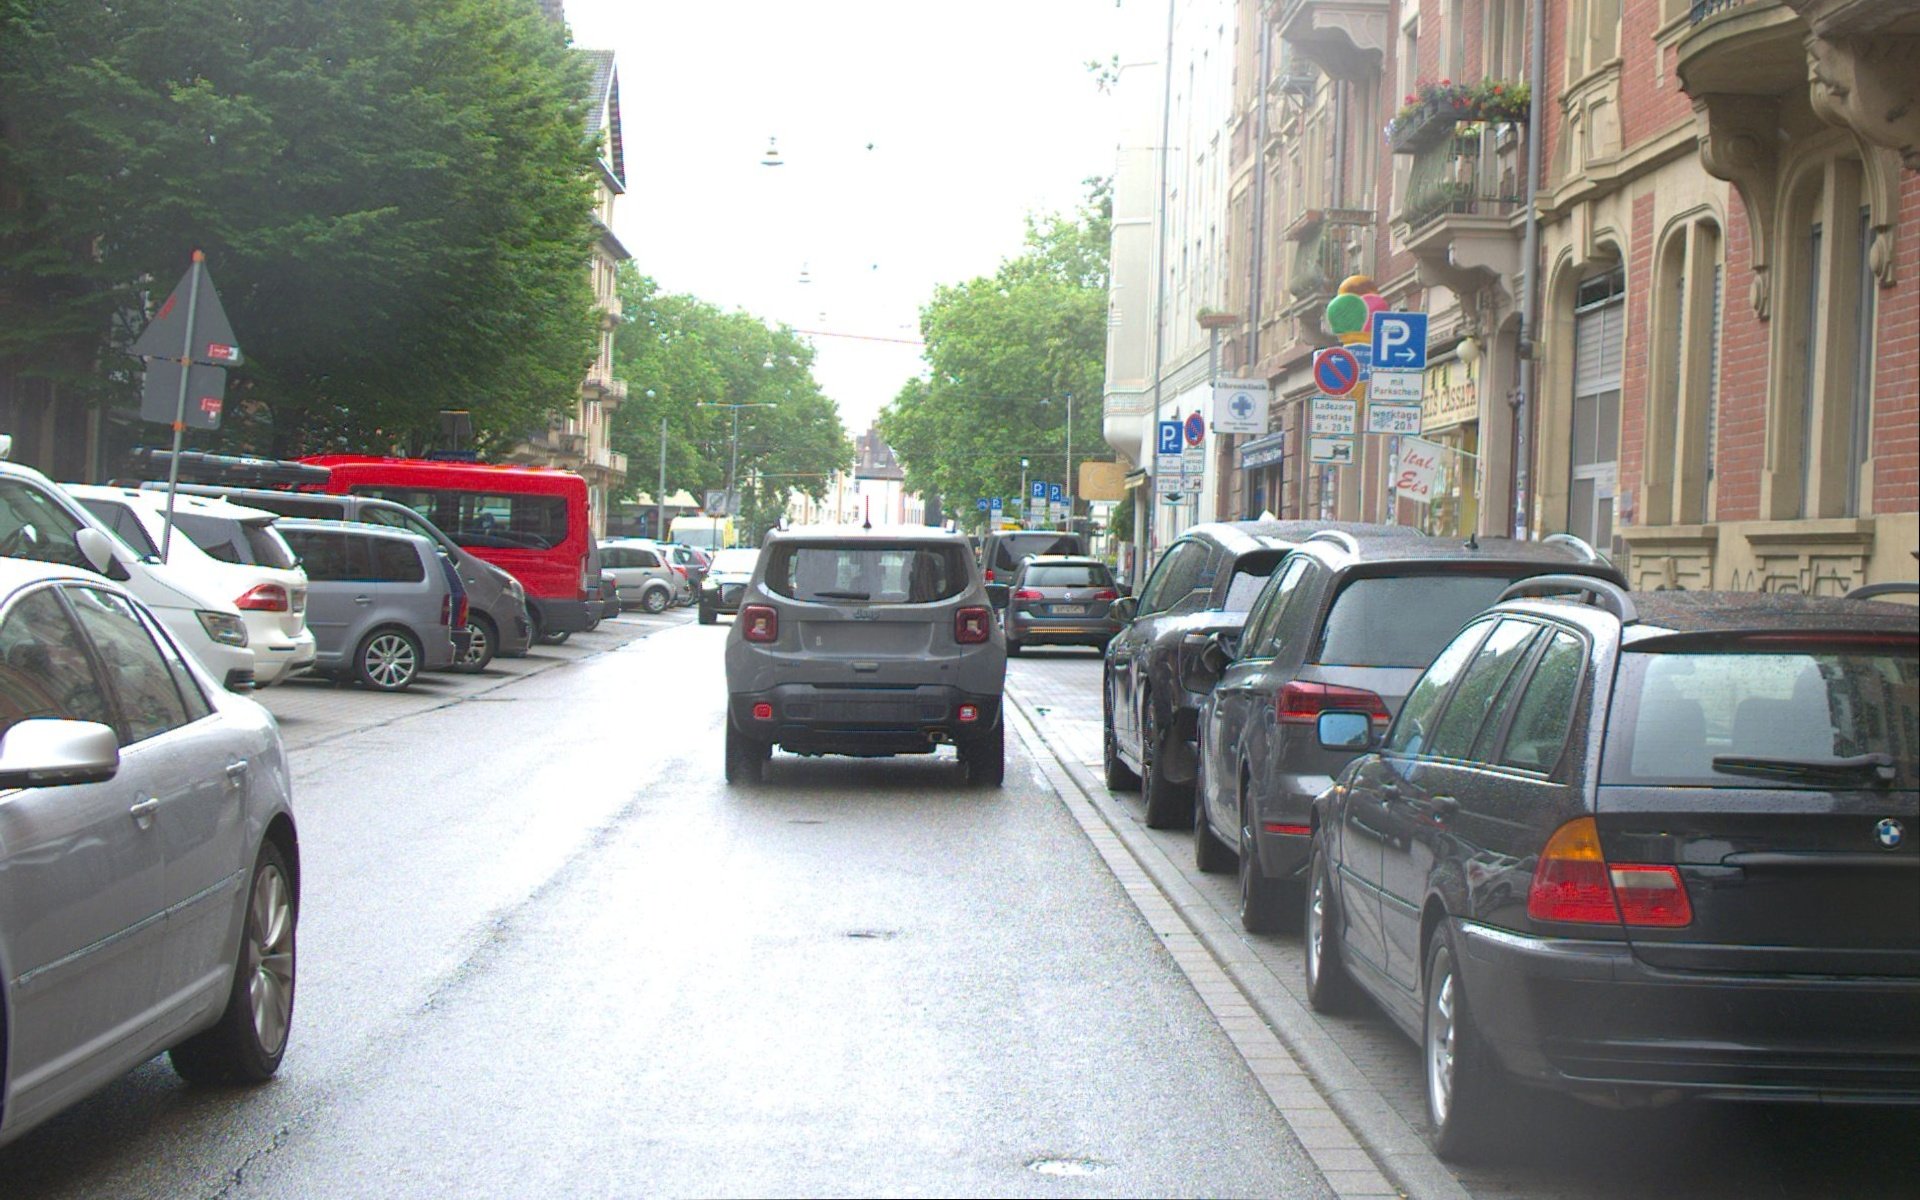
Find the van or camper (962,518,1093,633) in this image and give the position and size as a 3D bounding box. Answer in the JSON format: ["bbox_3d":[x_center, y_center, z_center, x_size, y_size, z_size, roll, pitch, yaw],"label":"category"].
[{"bbox_3d":[1.122,-0.444,59.606,2.021,1.884,5.055,1,1,-1],"label":"van or camper"}]

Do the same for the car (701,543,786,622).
[{"bbox_3d":[-4.477,-0.376,71.343,1.669,1.554,4.004,2,1,-3],"label":"car"}]

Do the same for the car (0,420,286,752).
[{"bbox_3d":[-7.219,-0.152,22.239,5.235,2.071,1.870,2,0,-25],"label":"car"}]

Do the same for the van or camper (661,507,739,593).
[{"bbox_3d":[-8.457,-1.577,112.211,2.121,2.522,6.875,-2,-1,-1],"label":"van or camper"}]

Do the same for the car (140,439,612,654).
[{"bbox_3d":[-7.586,-0.682,44.797,5.554,2.532,2.230,2,1,-28],"label":"car"}]

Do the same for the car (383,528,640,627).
[{"bbox_3d":[-7.637,-0.376,58.754,3.967,1.442,1.767,3,1,-41],"label":"car"}]

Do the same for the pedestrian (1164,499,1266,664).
[{"bbox_3d":[3.223,-0.235,43.418,0.680,1.928,0.808,1,-17,34],"label":"pedestrian"}]

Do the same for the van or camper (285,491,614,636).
[{"bbox_3d":[-7.555,-0.531,51.049,4.434,1.968,1.781,2,1,-34],"label":"van or camper"}]

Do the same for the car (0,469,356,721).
[{"bbox_3d":[-7.443,-0.143,27.874,4.578,1.779,2.546,4,1,-1],"label":"car"}]

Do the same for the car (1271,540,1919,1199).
[{"bbox_3d":[2.007,0.619,9.719,1.787,1.461,4.484,2,2,0],"label":"car"}]

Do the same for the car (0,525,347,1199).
[{"bbox_3d":[-2.774,0.580,7.855,1.795,1.488,4.583,1,1,1],"label":"car"}]

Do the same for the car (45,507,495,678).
[{"bbox_3d":[-7.337,-0.081,36.555,4.341,1.499,1.755,3,1,-23],"label":"car"}]

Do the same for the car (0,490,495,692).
[{"bbox_3d":[-7.090,-0.085,34.106,4.430,1.625,1.845,4,1,-27],"label":"car"}]

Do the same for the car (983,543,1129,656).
[{"bbox_3d":[1.365,-0.036,50.172,1.841,1.540,4.004,1,1,-2],"label":"car"}]

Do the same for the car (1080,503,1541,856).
[{"bbox_3d":[1.888,0.381,20.072,1.993,1.773,4.827,1,1,-2],"label":"car"}]

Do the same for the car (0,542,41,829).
[{"bbox_3d":[-6.811,0.348,17.063,3.986,1.431,1.785,2,1,-29],"label":"car"}]

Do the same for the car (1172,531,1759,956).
[{"bbox_3d":[2.011,0.500,14.946,1.871,1.556,4.345,1,1,0],"label":"car"}]

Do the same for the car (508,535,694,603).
[{"bbox_3d":[-7.872,-0.675,75.554,3.702,1.447,1.685,0,1,-36],"label":"car"}]

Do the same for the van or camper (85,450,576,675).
[{"bbox_3d":[-7.234,-0.429,39.525,5.008,2.341,2.345,2,1,-27],"label":"van or camper"}]

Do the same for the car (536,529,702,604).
[{"bbox_3d":[-7.781,-0.768,78.435,3.375,1.648,1.634,0,1,-34],"label":"car"}]

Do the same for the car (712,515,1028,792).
[{"bbox_3d":[-0.633,0.303,23.386,1.898,1.665,4.506,1,1,-2],"label":"car"}]
